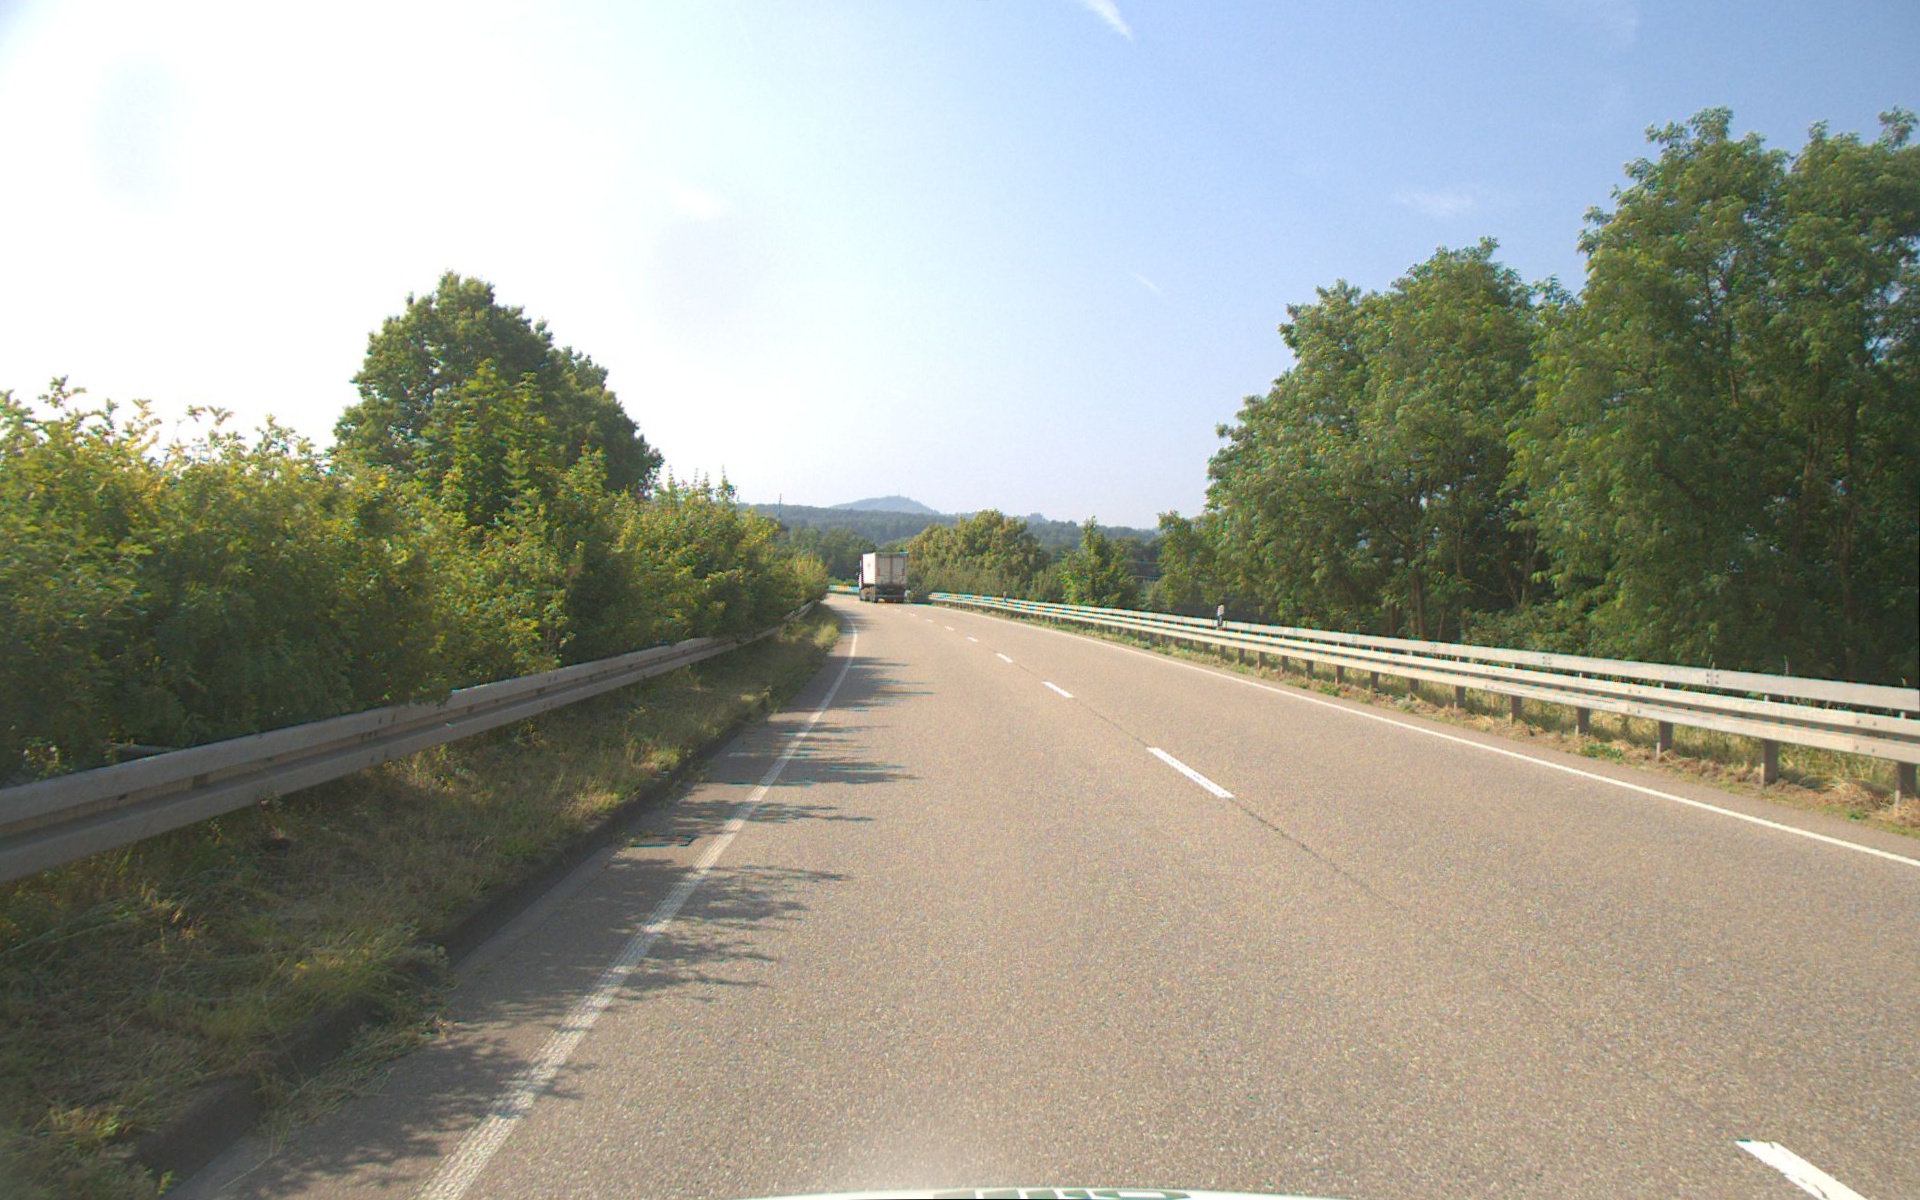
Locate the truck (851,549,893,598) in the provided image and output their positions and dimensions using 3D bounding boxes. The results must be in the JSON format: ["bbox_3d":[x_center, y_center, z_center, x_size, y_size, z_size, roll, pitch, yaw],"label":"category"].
[{"bbox_3d":[-7.339,-2.255,137.653,2.612,3.964,5.632,1,1,-12],"label":"truck"}]

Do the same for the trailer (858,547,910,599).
[{"bbox_3d":[-6.109,-2.142,131.799,2.632,3.975,9.645,1,1,-12],"label":"trailer"}]
